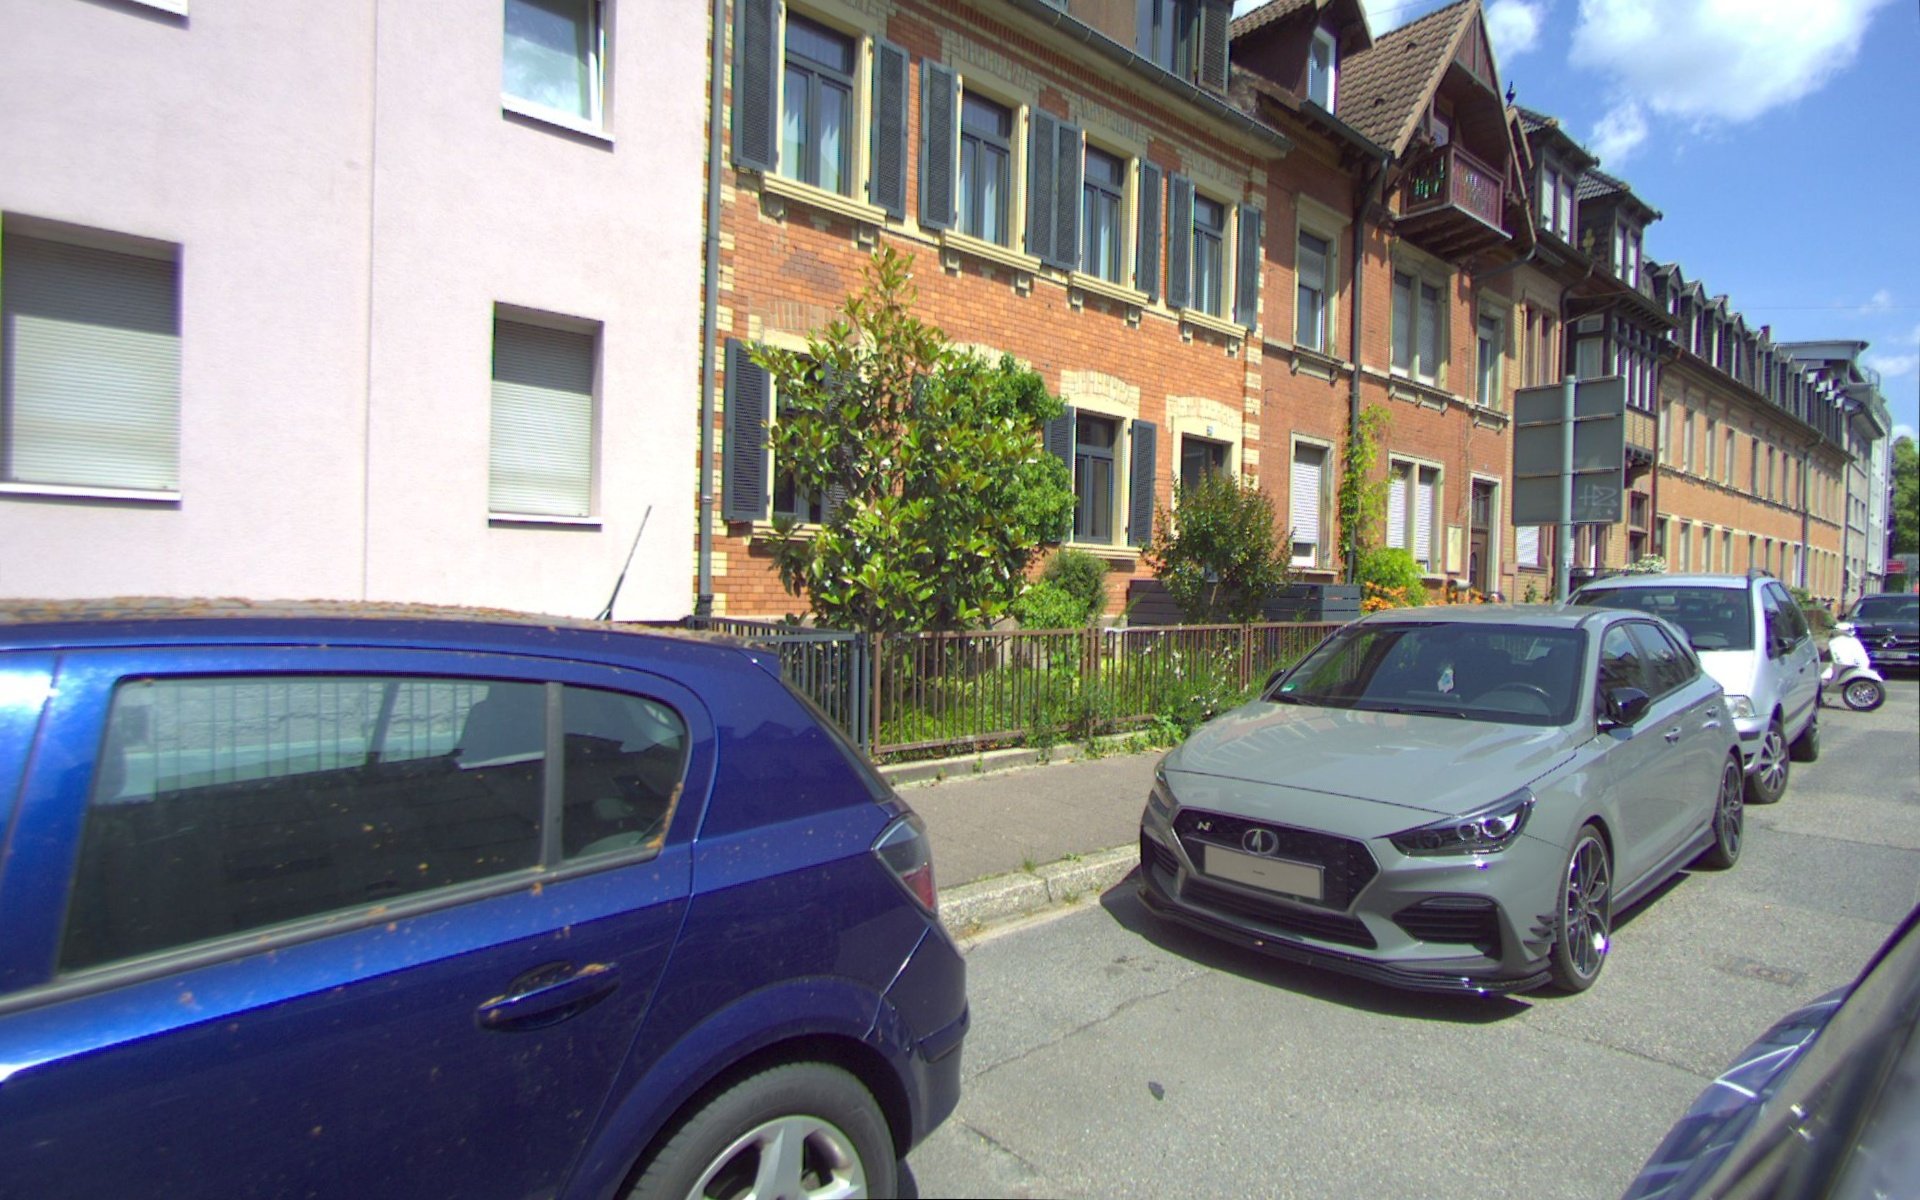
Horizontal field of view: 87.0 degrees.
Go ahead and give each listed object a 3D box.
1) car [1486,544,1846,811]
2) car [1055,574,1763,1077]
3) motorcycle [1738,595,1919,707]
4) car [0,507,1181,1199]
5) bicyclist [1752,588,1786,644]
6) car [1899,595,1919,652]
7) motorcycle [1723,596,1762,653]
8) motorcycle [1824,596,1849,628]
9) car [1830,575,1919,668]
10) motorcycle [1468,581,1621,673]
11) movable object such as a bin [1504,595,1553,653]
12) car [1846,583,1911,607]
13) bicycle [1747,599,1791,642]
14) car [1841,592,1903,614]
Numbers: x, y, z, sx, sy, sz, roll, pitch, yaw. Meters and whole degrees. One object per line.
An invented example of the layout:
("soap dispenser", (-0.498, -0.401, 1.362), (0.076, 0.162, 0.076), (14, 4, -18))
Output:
("car", (6.431, 0.512, 8.979), (1.861, 1.770, 4.543), (0, 0, 45))
("car", (2.574, 0.676, 5.193), (4.238, 1.506, 1.862), (0, 0, -44))
("motorcycle", (12.173, 0.657, 14.055), (1.091, 1.403, 1.998), (0, 1, -4))
("car", (-1.679, 0.652, 1.674), (4.539, 1.506, 1.698), (0, 0, -42))
("bicyclist", (21.740, 0.419, 27.192), (0.777, 1.487, 0.533), (0, 2, -41))
("car", (26.032, 0.605, 26.478), (4.511, 1.432, 1.719), (0, 2, -42))
("motorcycle", (17.812, 0.542, 23.041), (1.335, 1.252, 0.440), (0, 2, -43))
("motorcycle", (35.613, 0.464, 41.122), (1.339, 1.240, 0.596), (-1, 2, -43))
("car", (19.239, 0.388, 20.416), (4.546, 1.682, 1.997), (0, 2, -42))
("motorcycle", (10.363, 0.432, 18.012), (0.921, 1.425, 2.133), (0, 3, -42))
("movable object such as a bin", (11.271, 0.463, 20.062), (0.748, 1.090, 0.610), (0, 1, -41))
("car", (90.748, -0.487, 100.031), (2.071, 2.305, 4.605), (0, 0, -44))
("bicycle", (21.616, 0.522, 27.024), (1.850, 1.079, 0.594), (0, 2, -42))
("car", (76.066, 0.204, 84.435), (3.760, 1.688, 1.639), (3, 2, 41))
